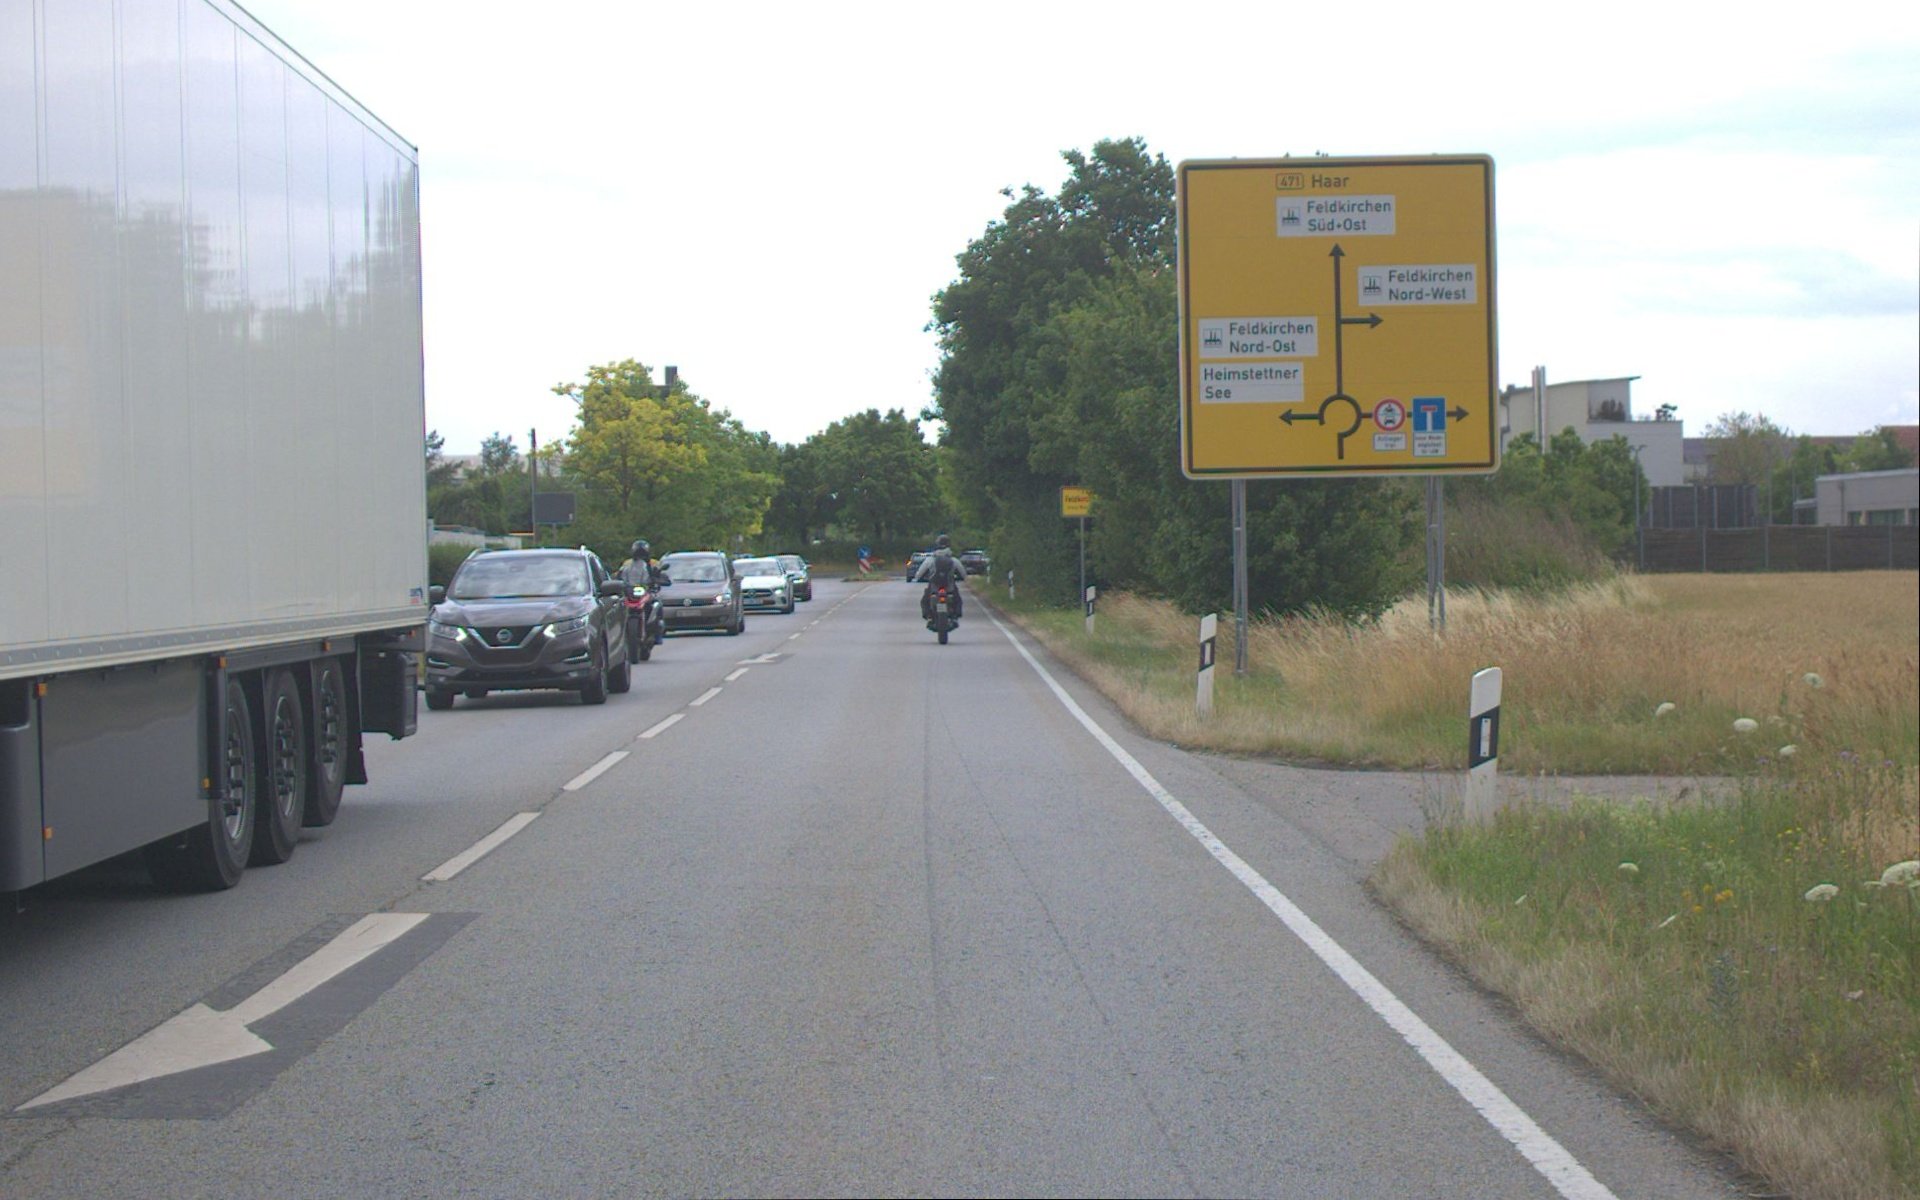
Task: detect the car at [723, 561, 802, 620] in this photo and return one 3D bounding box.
[{"bbox_3d":[-4.951,-0.256,86.716,1.773,1.368,4.100,-3,1,-1],"label":"car"}]

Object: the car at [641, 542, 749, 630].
[{"bbox_3d":[-4.956,-0.283,64.709,1.704,1.534,4.302,-2,1,-1],"label":"car"}]

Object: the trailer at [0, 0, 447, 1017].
[{"bbox_3d":[-4.495,-0.734,14.689,2.634,4.106,13.768,-1,1,-1],"label":"trailer"}]

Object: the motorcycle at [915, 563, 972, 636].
[{"bbox_3d":[-0.284,-0.018,56.533,0.896,1.154,2.620,-1,1,-1],"label":"motorcycle"}]

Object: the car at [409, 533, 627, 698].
[{"bbox_3d":[-4.572,0.114,36.128,1.729,1.581,4.505,-2,1,-1],"label":"car"}]

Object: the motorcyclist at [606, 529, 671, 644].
[{"bbox_3d":[-4.480,-0.196,47.942,0.797,1.568,1.078,-1,1,-1],"label":"motorcyclist"}]

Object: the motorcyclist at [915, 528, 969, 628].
[{"bbox_3d":[-0.298,-0.370,56.586,0.861,1.618,1.191,-1,1,-1],"label":"motorcyclist"}]

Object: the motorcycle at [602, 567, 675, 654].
[{"bbox_3d":[-4.470,0.126,47.969,0.797,1.154,2.620,-1,1,-1],"label":"motorcycle"}]
